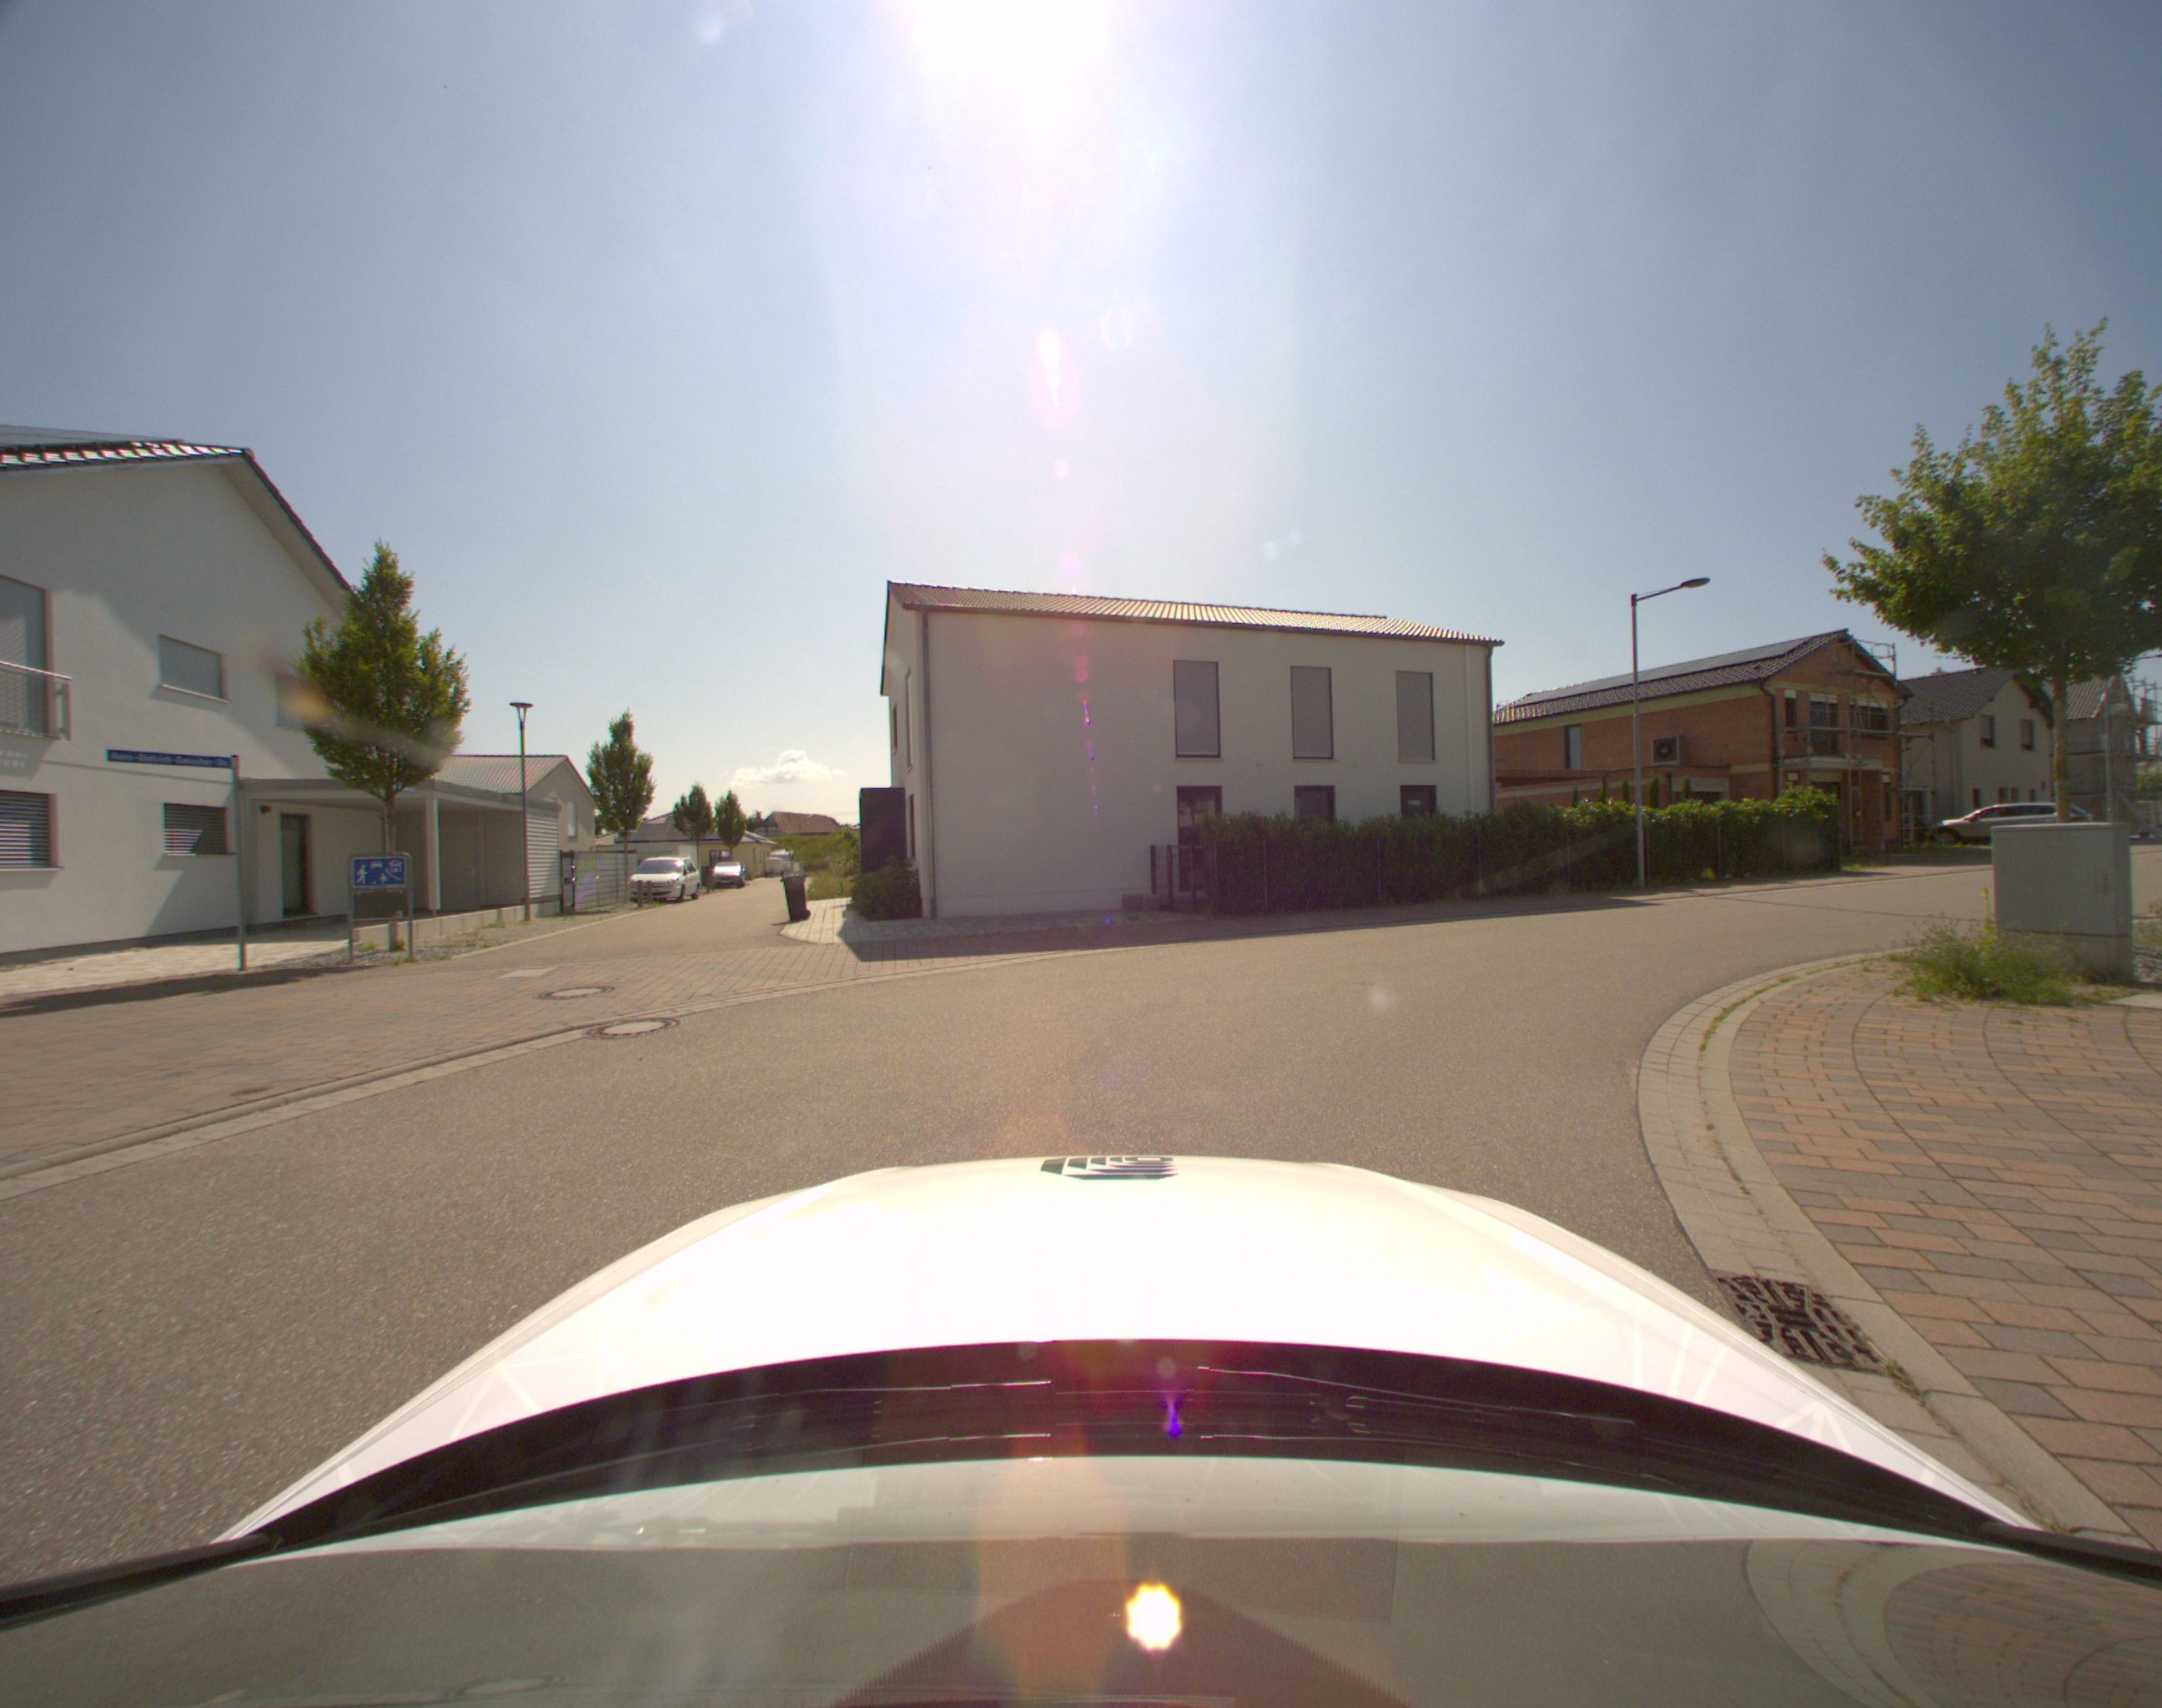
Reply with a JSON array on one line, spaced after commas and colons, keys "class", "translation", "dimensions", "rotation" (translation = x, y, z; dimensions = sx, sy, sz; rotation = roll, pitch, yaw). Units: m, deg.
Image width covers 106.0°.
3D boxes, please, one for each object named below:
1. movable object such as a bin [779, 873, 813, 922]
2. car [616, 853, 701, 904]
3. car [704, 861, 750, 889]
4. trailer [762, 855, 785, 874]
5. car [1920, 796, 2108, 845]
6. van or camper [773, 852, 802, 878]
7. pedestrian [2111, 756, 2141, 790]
[{"class": "movable object such as a bin", "translation": [-5.958, 0.899, 17.053], "dimensions": [0.601, 0.948, 0.498], "rotation": [-3, 0, -17]}, {"class": "car", "translation": [-16.171, 0.910, 31.433], "dimensions": [1.997, 1.790, 4.622], "rotation": [0, -1, -16]}, {"class": "car", "translation": [-21.663, 1.258, 50.012], "dimensions": [1.997, 1.614, 4.460], "rotation": [0, -1, -16]}, {"class": "trailer", "translation": [-26.649, 0.950, 70.637], "dimensions": [1.630, 1.614, 2.547], "rotation": [0, -1, -16]}, {"class": "car", "translation": [35.649, -1.251, 31.271], "dimensions": [2.005, 1.612, 4.398], "rotation": [-3, 0, -28]}, {"class": "van or camper", "translation": [-28.011, 1.034, 77.882], "dimensions": [2.268, 2.411, 4.818], "rotation": [0, -1, -16]}, {"class": "pedestrian", "translation": [54.020, -4.176, 42.100], "dimensions": [0.740, 1.680, 0.581], "rotation": [-1, -1, 19]}]
